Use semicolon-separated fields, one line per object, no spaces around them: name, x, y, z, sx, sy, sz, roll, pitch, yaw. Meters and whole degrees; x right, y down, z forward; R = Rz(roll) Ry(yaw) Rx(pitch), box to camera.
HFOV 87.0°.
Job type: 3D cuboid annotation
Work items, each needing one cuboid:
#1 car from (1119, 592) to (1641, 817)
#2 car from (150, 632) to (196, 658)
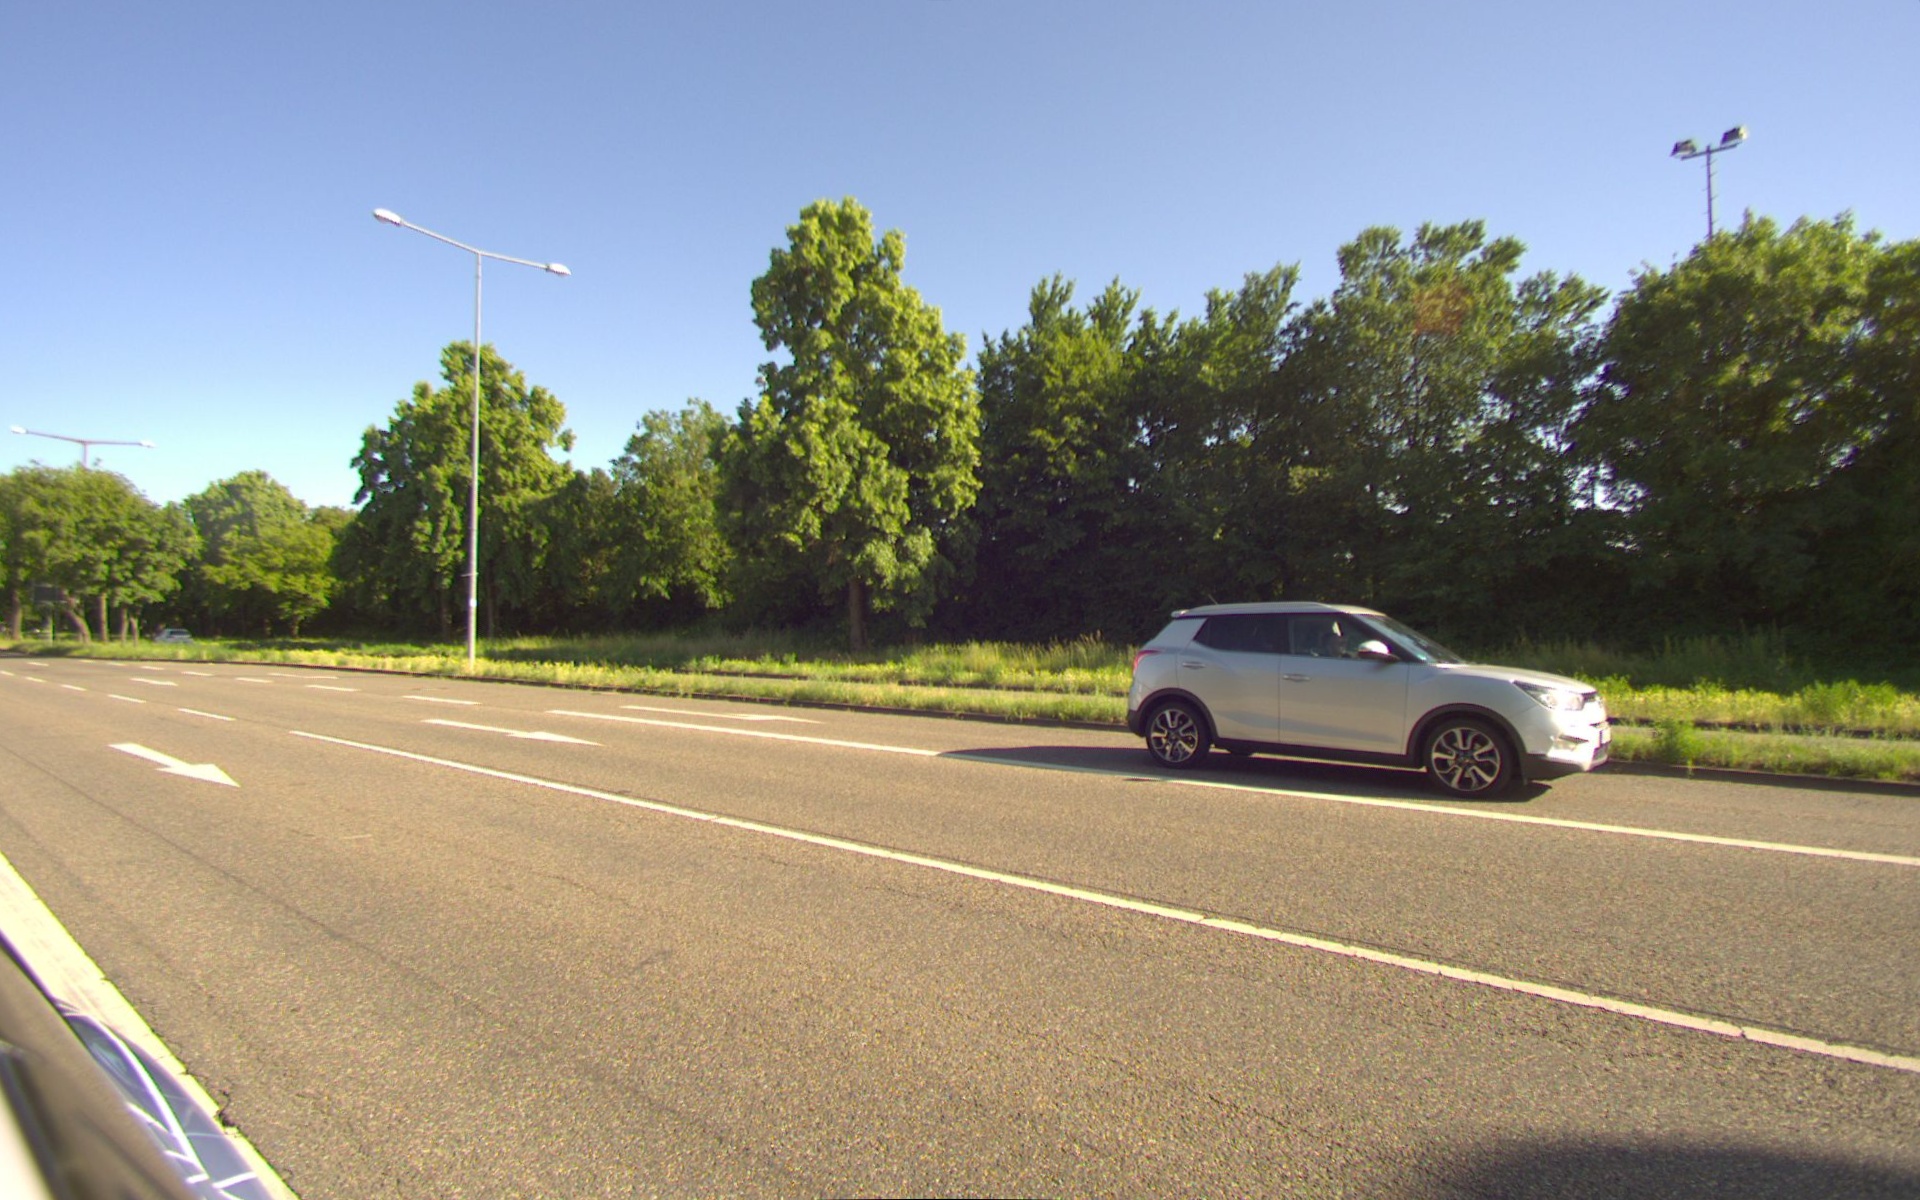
car;3.690;0.810;9.337;4.104;1.622;1.766;-1;-2;41
car;-57.517;3.255;73.937;4.406;1.716;1.892;0;0;42
